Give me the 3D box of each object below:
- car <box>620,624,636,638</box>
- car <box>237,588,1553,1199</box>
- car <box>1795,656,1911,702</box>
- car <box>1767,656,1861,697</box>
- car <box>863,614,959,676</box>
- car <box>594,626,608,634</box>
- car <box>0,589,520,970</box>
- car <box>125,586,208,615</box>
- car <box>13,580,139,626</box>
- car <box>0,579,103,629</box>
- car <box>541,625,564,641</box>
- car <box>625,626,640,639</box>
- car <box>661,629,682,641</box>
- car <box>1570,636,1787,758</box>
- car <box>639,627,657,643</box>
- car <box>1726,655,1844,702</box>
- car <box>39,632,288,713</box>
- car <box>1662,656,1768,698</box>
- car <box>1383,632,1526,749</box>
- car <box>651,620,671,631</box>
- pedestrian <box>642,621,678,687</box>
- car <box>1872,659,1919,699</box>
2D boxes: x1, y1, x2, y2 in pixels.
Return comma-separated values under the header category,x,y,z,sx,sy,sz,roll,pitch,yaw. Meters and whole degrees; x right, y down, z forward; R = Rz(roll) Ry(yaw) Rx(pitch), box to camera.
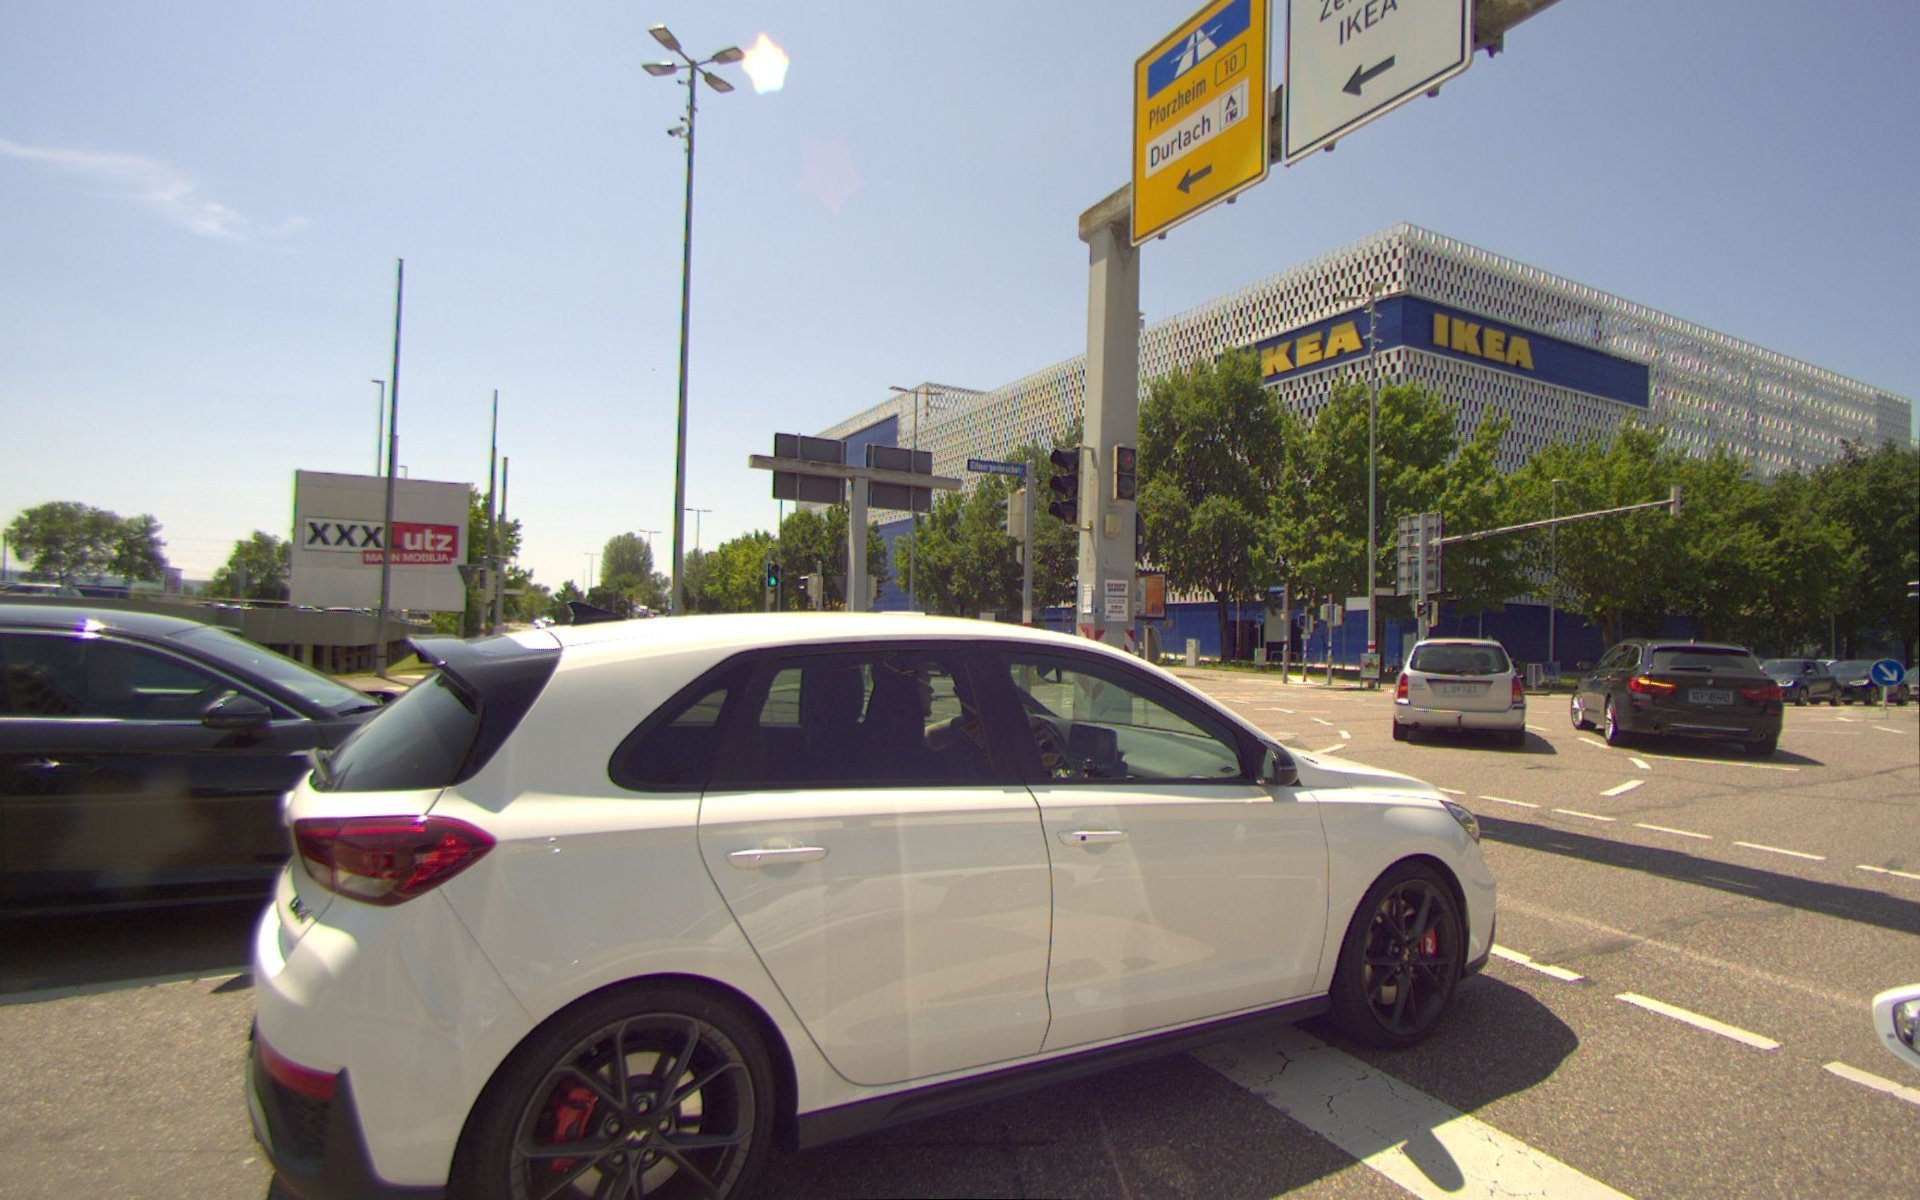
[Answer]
category,x,y,z,sx,sy,sz,roll,pitch,yaw
car,-49.293,4.627,149.121,1.607,1.937,3.474,2,-2,-27
car,0.050,0.777,3.553,4.022,1.455,1.779,2,-1,-30
car,31.161,2.763,35.028,4.192,1.524,1.719,3,-5,-29
car,34.548,3.105,40.625,3.870,1.564,1.719,3,-3,-30
car,-1.976,1.691,38.585,1.973,2.212,5.020,2,-2,-24
car,-60.786,5.054,170.079,1.608,1.368,3.472,2,-2,-28
car,-4.360,0.680,4.296,4.412,1.423,1.664,1,-2,-29
car,-53.613,0.082,67.964,4.085,1.764,1.770,3,-3,-29
car,-42.937,0.195,48.933,4.284,2.040,1.982,3,-3,-34
car,-40.433,0.183,43.828,4.284,2.040,1.982,3,-3,-33
car,-42.869,3.463,105.722,1.836,1.528,3.972,2,-2,-27
car,-46.686,4.661,143.191,1.607,1.835,3.475,2,-2,-26
car,-39.322,4.740,136.930,1.974,1.572,3.973,2,-2,-27
car,10.297,1.290,14.763,1.769,1.459,4.554,0,-2,25
car,-41.277,4.629,132.770,1.750,2.040,3.813,2,-2,-26
car,26.096,2.503,31.753,3.671,1.407,1.637,3,-5,-29
car,-15.074,1.336,19.137,1.596,1.382,3.422,0,-3,39
car,27.245,2.782,36.223,3.991,1.442,1.653,3,-4,-30
car,7.448,1.225,15.011,1.667,1.441,4.003,1,-1,29
car,-42.955,3.685,144.123,1.976,1.572,3.971,2,-2,-28
pedestrian,-8.365,1.498,27.986,0.816,1.807,0.601,2,-2,-27
car,37.068,3.043,38.404,4.660,1.464,1.721,3,-4,-27
